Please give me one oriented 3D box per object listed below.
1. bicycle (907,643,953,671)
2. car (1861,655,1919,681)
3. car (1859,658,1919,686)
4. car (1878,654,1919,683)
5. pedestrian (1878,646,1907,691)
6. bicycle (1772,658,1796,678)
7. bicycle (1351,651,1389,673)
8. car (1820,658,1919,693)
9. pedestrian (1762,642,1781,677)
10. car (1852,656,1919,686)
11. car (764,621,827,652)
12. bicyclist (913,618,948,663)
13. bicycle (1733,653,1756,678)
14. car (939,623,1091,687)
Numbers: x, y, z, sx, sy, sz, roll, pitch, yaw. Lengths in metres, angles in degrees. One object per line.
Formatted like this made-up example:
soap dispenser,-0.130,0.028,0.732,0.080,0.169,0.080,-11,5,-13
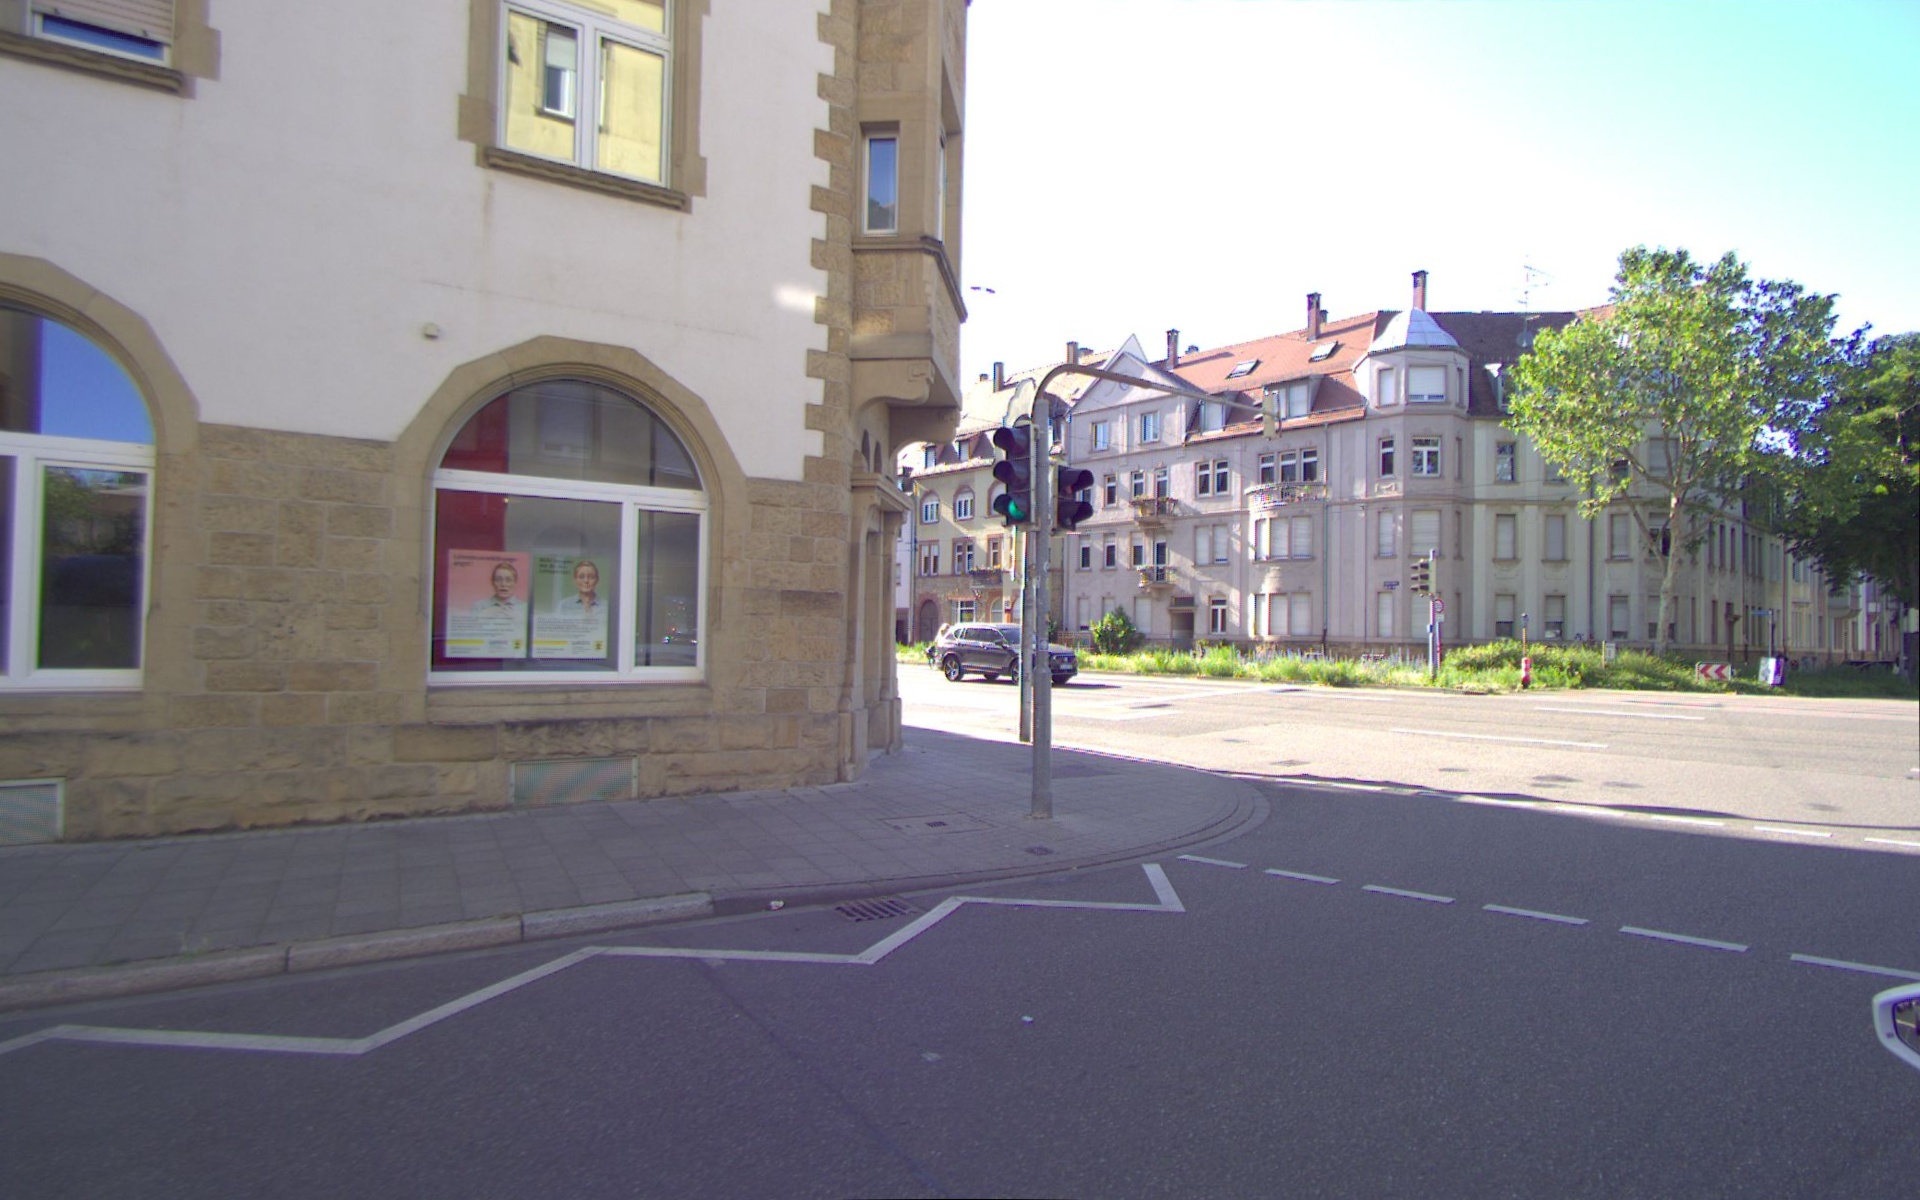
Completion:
bicycle,-1.063,1.986,35.339,0.789,0.937,1.617,2,-2,-41
car,56.386,4.038,59.730,1.708,1.527,3.955,3,-4,-39
car,49.759,3.802,52.342,1.690,1.366,4.175,4,-3,-40
car,53.443,3.812,55.388,1.770,1.502,3.955,3,-2,-39
pedestrian,36.459,2.679,39.274,0.672,1.704,0.690,2,-2,-30
bicycle,39.221,3.220,47.803,1.580,0.923,0.469,3,-2,-34
bicycle,17.432,2.632,42.733,0.494,0.916,1.420,3,-3,-44
car,41.341,3.382,45.165,1.603,1.495,3.849,3,-4,-40
pedestrian,38.914,2.850,48.159,0.885,1.680,0.457,2,-2,-33
car,50.911,3.874,54.563,1.689,1.471,3.407,4,-3,-38
car,-10.439,2.319,63.636,1.972,1.860,4.063,3,-3,-43
bicyclist,-1.041,1.413,35.326,0.682,1.562,1.062,3,-2,-41
bicycle,38.913,3.241,49.789,1.967,1.169,0.509,2,1,-41
car,1.495,1.502,28.637,1.985,1.666,4.190,1,-1,-41
